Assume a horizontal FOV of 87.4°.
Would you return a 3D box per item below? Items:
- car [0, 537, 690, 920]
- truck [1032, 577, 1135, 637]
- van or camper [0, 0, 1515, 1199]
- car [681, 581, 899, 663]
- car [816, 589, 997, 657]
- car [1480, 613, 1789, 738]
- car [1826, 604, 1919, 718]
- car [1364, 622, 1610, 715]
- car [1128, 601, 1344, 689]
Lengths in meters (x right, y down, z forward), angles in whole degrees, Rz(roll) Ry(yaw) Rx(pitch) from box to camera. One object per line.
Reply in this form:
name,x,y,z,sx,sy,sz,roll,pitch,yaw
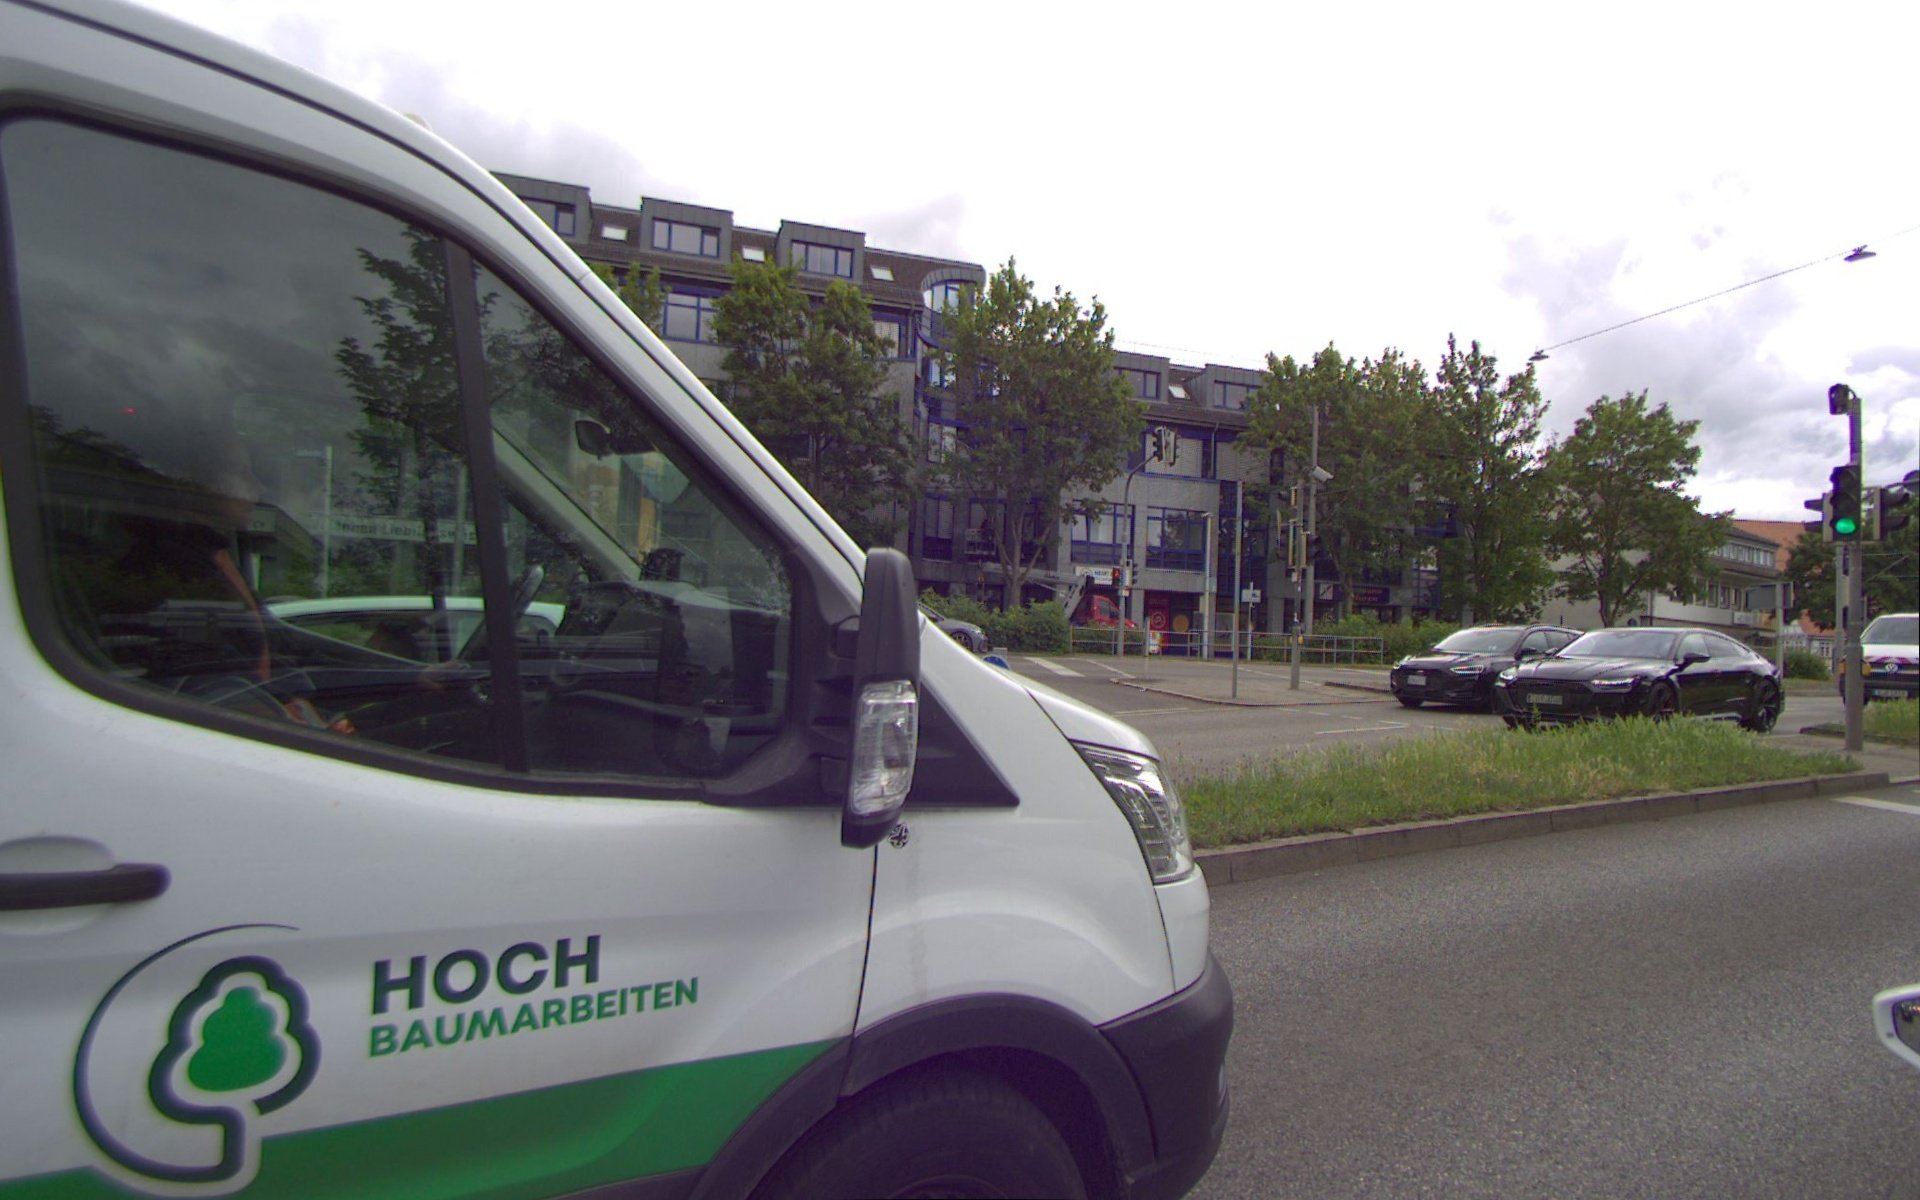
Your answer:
car,-3.677,0.581,5.427,3.957,1.585,1.767,1,-3,-33
truck,5.258,0.290,42.893,3.928,2.419,1.996,1,1,-10
van or camper,-1.949,0.050,1.584,5.899,2.697,2.330,3,0,-32
car,-3.604,0.454,21.512,4.362,1.482,1.778,3,1,-11
car,-1.394,0.575,25.489,4.361,1.482,1.778,2,1,-11
car,9.416,0.958,13.947,4.427,1.501,1.770,1,-2,-29
car,19.252,1.154,19.715,4.797,2.029,1.828,1,0,-28
car,9.065,1.113,17.261,3.898,1.397,1.778,1,0,-26
car,5.349,0.855,19.912,3.919,1.565,1.783,1,-1,8
